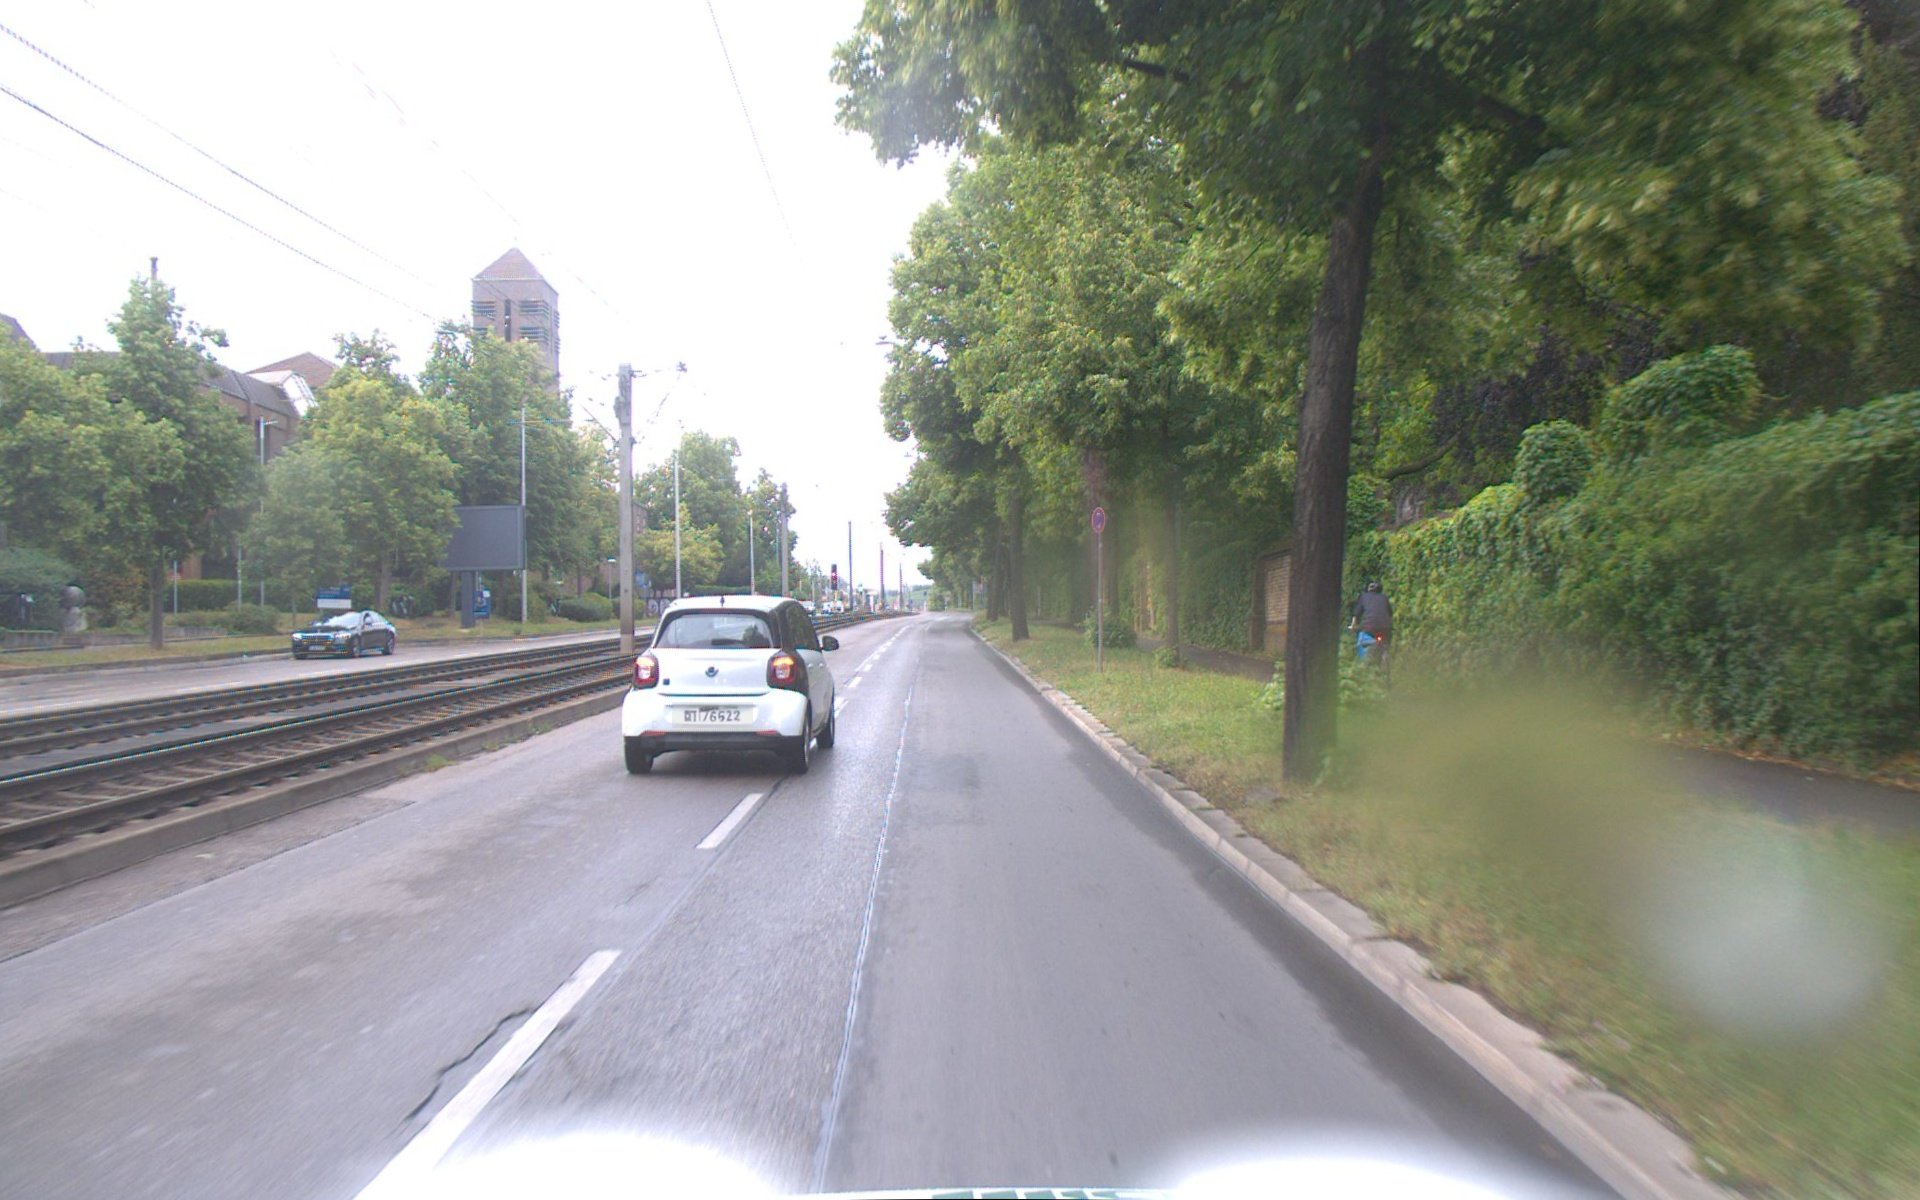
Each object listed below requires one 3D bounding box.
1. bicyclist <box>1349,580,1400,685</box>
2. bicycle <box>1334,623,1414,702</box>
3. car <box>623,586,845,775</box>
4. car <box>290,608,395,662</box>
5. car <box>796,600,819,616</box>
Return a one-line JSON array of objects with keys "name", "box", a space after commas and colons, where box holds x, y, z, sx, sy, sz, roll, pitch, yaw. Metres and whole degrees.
[{"name": "bicyclist", "box": [5.689, 0.441, 22.728, 0.524, 1.414, 0.666, -1, 0, 2]}, {"name": "bicycle", "box": [5.698, 0.833, 22.884, 0.531, 0.964, 2.550, -1, 0, 2]}, {"name": "car", "box": [-2.038, 0.672, 15.829, 1.642, 1.557, 3.721, -1, 0, -1]}, {"name": "car", "box": [-19.593, 1.063, 52.685, 1.758, 1.557, 4.620, -1, 0, -2]}, {"name": "car", "box": [-16.955, 0.848, 184.033, 1.971, 1.685, 4.618, -1, 0, 3]}]
